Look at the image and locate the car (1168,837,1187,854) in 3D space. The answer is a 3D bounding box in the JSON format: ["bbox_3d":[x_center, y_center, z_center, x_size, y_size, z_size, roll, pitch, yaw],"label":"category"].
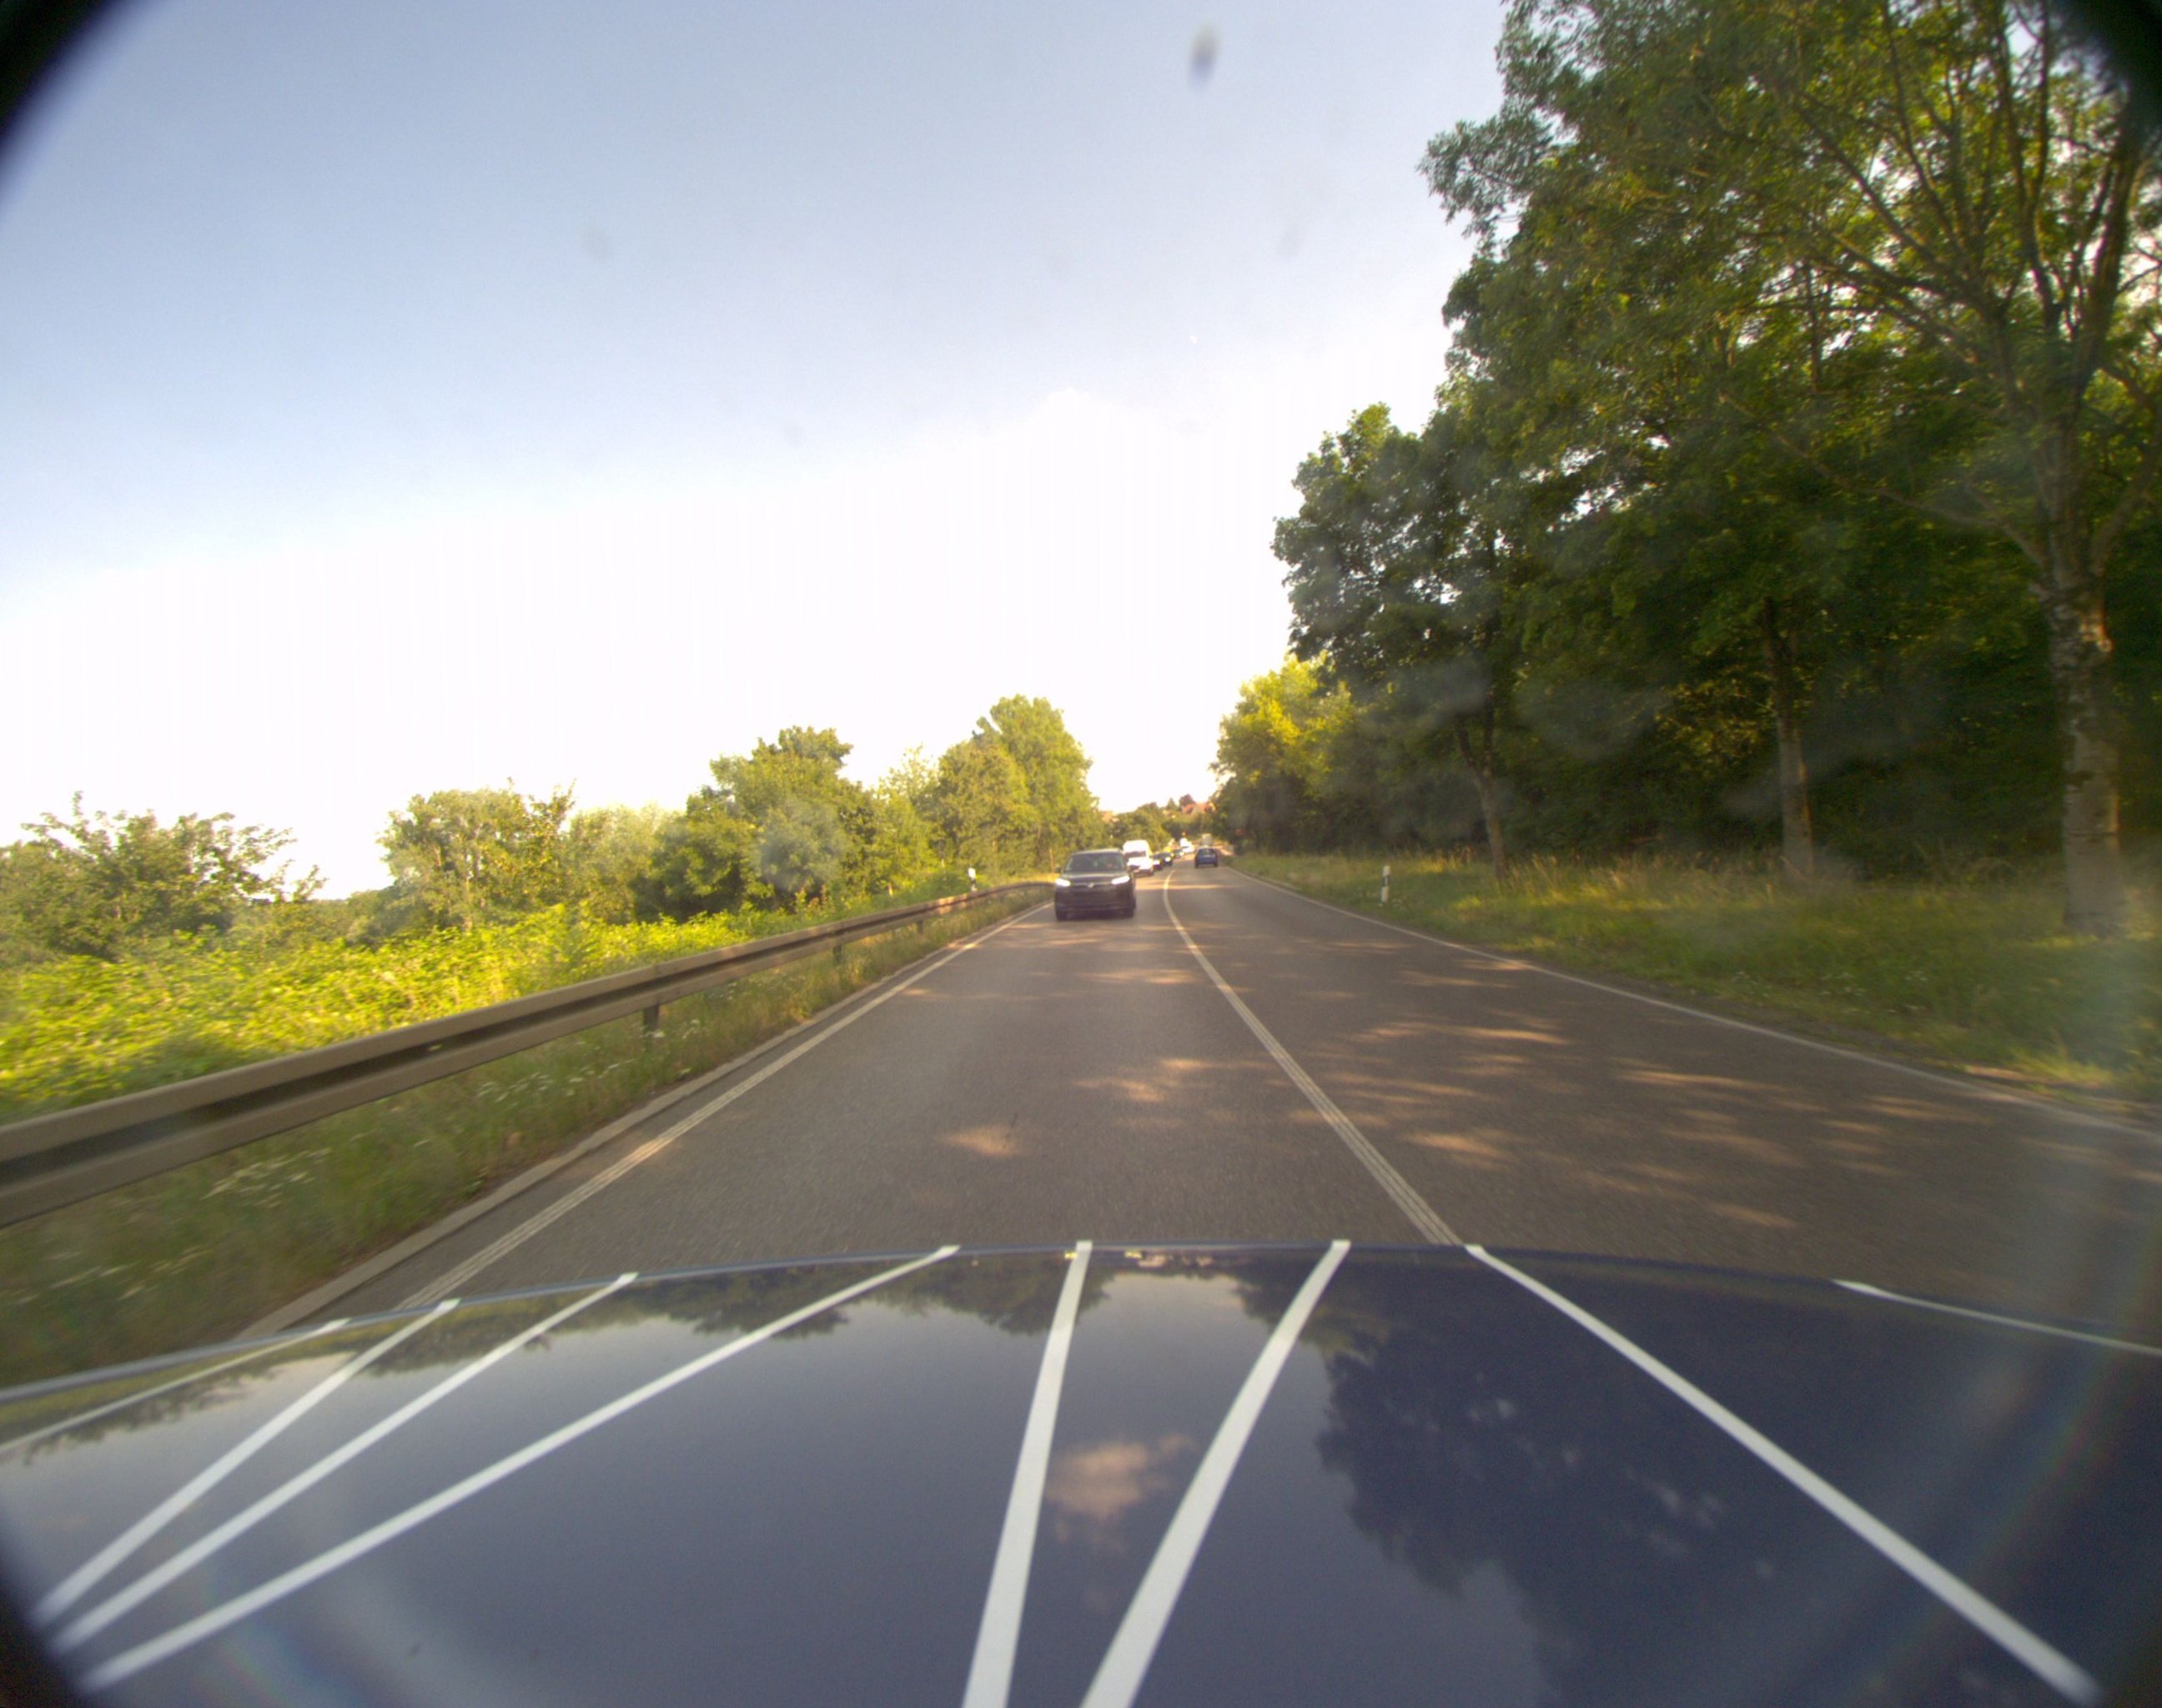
[{"bbox_3d":[13.996,-1.265,110.404,2.086,2.403,5.146,-2,1,14],"label":"car"}]

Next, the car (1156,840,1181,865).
[{"bbox_3d":[8.785,-0.166,76.947,2.088,2.403,5.142,-2,1,2],"label":"car"}]

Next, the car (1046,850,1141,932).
[{"bbox_3d":[0.327,0.776,18.359,1.922,1.612,4.701,-2,1,1],"label":"car"}]

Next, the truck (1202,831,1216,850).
[{"bbox_3d":[35.929,-3.830,213.663,3.629,5.140,10.467,-2,0,10],"label":"truck"}]

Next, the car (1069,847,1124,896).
[{"bbox_3d":[0.628,0.649,29.993,1.922,1.718,4.702,-3,0,1],"label":"car"}]

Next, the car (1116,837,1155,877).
[{"bbox_3d":[3.623,0.147,49.308,2.087,2.403,5.144,-2,1,8],"label":"car"}]

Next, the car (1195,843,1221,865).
[{"bbox_3d":[10.449,-0.009,62.630,1.900,1.622,4.253,-2,1,8],"label":"car"}]

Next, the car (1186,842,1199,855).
[{"bbox_3d":[22.973,-1.126,156.508,2.086,2.403,5.146,-2,1,14],"label":"car"}]

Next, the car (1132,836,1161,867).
[{"bbox_3d":[5.406,-0.258,63.008,2.088,2.403,5.142,-2,1,2],"label":"car"}]

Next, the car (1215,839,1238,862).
[{"bbox_3d":[15.813,-0.413,82.879,2.087,2.403,5.144,-2,1,7],"label":"car"}]
